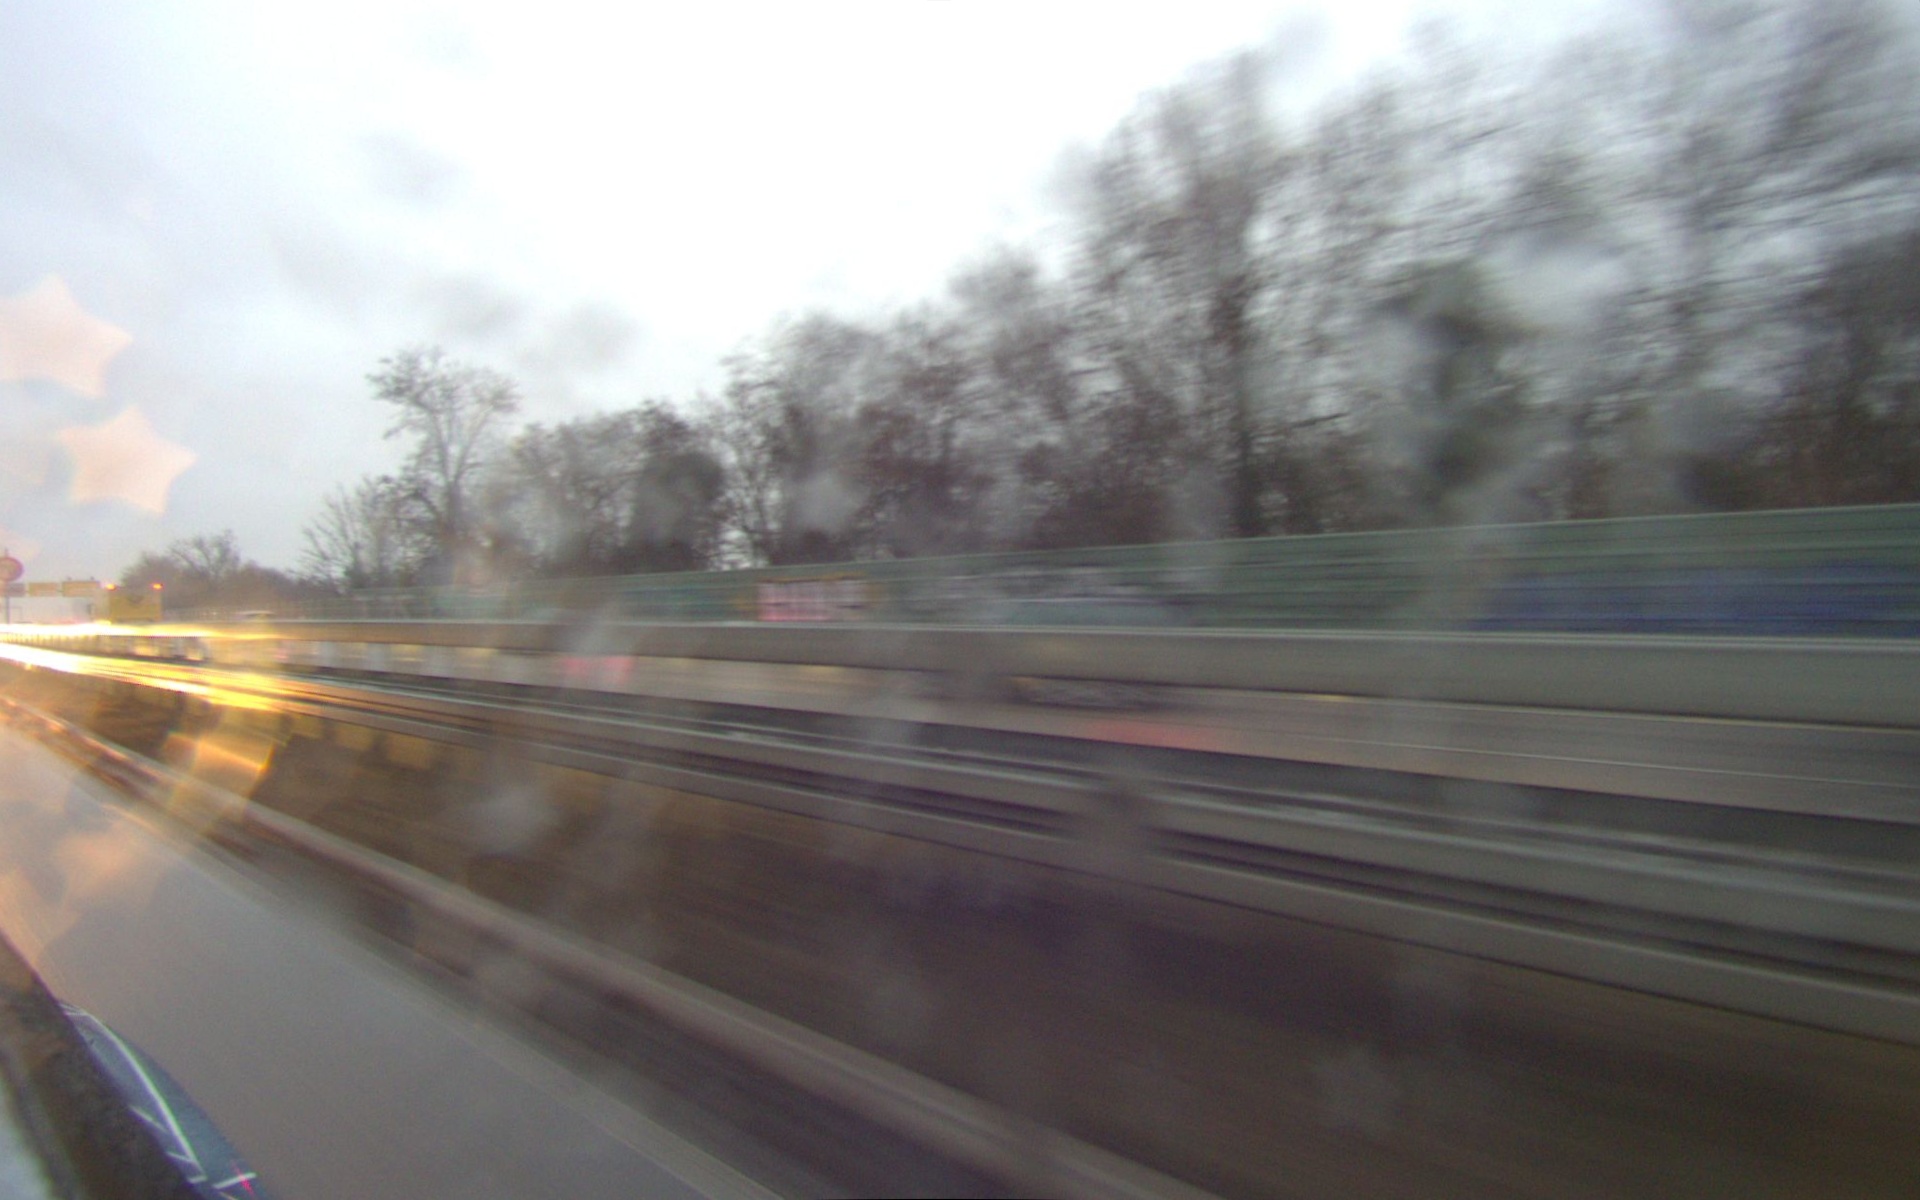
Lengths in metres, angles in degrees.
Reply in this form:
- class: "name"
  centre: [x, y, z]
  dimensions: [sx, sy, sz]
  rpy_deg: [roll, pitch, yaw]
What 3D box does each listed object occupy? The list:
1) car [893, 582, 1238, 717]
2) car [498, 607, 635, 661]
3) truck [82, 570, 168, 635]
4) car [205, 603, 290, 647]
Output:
- class: "car"
  centre: [1.304, 0.578, 13.636]
  dimensions: [4.282, 1.525, 1.972]
  rpy_deg: [-1, 0, 42]
- class: "car"
  centre: [-12.134, 0.986, 31.042]
  dimensions: [4.795, 1.525, 1.972]
  rpy_deg: [-1, 0, 42]
- class: "truck"
  centre: [-53.858, 0.193, 65.166]
  dimensions: [9.369, 3.886, 3.044]
  rpy_deg: [-1, 0, 43]
- class: "car"
  centre: [-28.980, 0.981, 41.106]
  dimensions: [3.999, 1.661, 1.972]
  rpy_deg: [-1, 0, 42]
